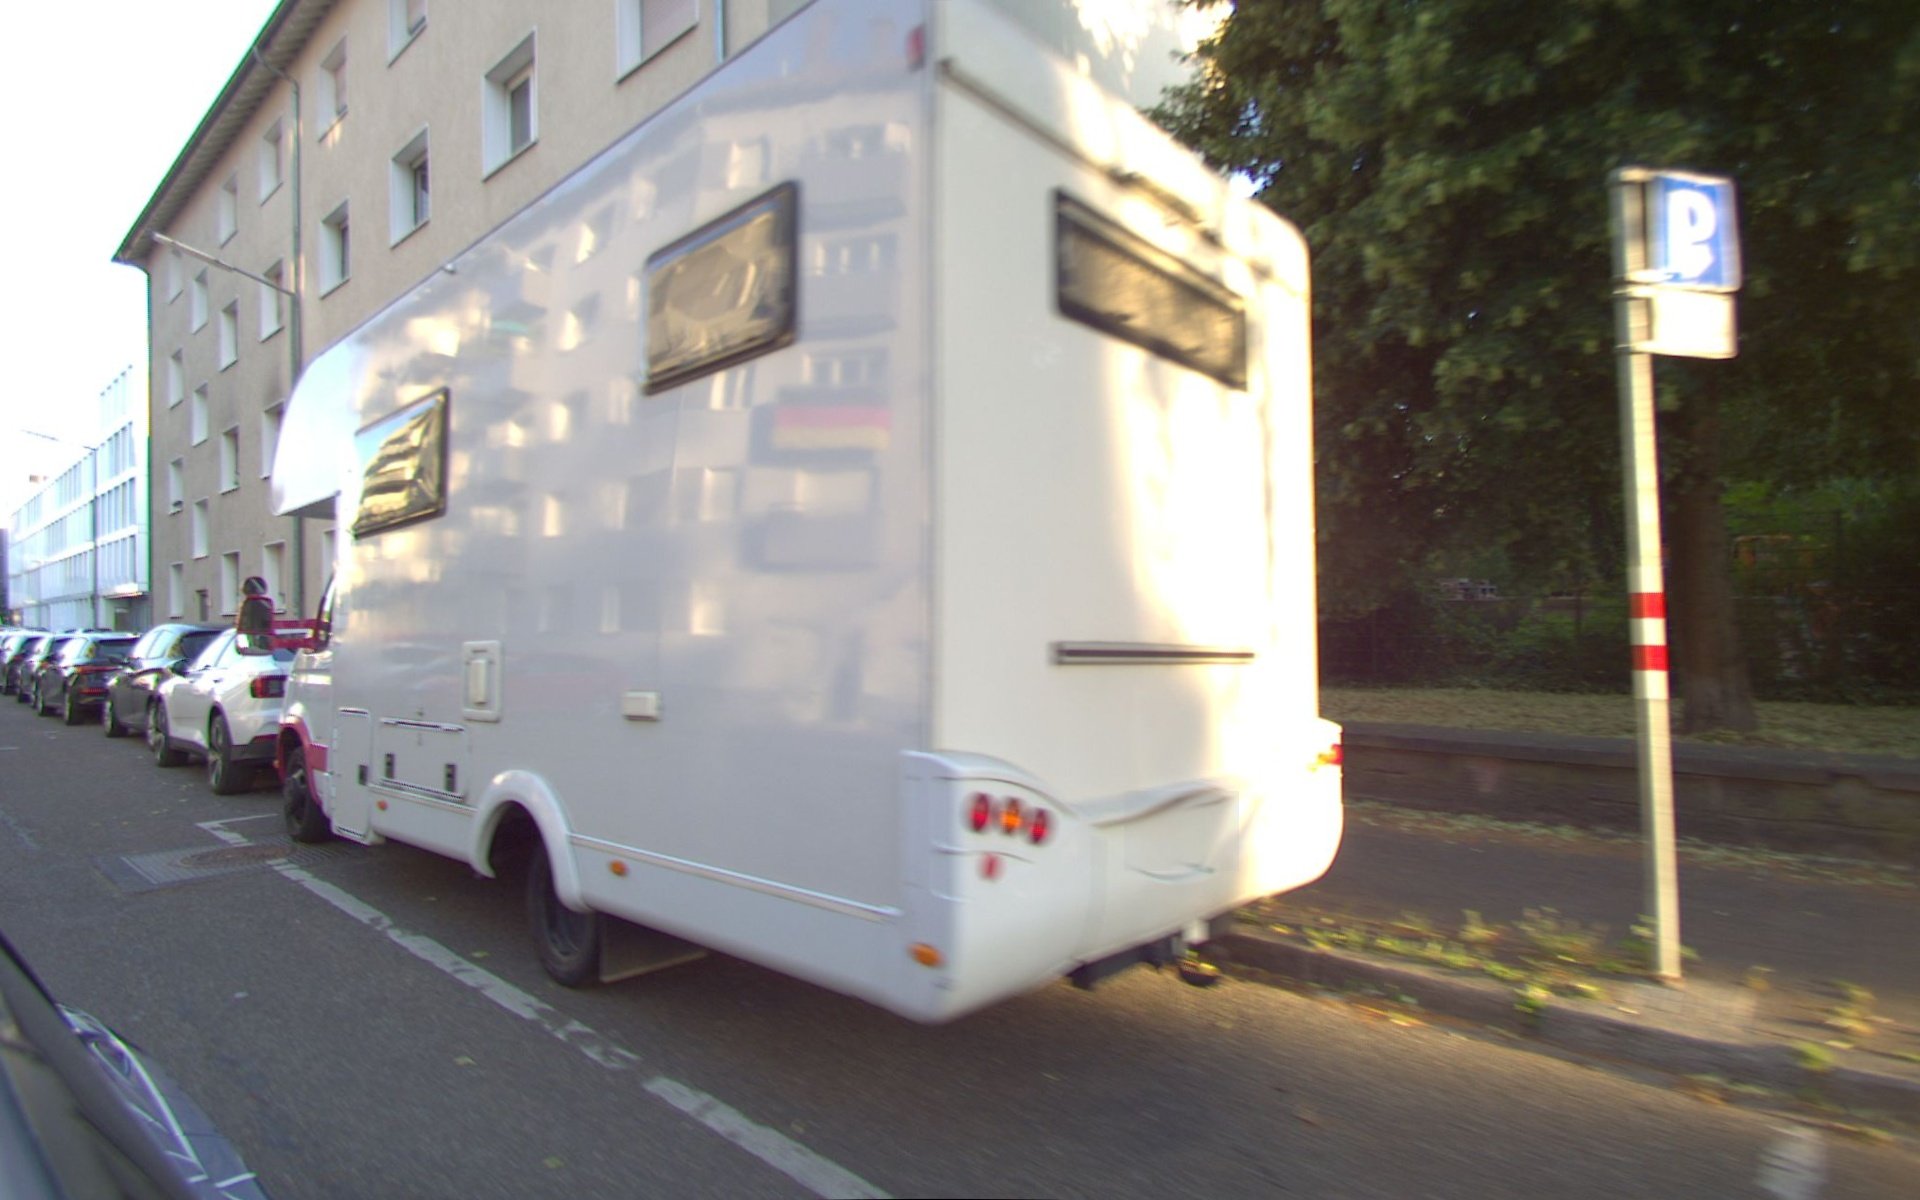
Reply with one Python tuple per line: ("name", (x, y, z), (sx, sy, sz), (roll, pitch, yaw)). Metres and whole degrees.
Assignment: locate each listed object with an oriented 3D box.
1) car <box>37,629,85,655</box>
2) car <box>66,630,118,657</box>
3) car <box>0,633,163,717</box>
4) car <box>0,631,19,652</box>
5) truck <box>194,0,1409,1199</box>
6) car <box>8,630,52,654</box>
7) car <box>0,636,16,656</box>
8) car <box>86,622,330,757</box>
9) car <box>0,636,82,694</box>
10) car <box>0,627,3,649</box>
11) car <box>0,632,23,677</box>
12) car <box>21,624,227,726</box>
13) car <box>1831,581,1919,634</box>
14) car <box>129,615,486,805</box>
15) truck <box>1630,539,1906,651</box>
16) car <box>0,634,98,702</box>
("car", (-54.590, 2.509, 61.441), (1.971, 1.497, 4.002), (0, -1, -45))
("car", (-49.705, 2.467, 57.959), (1.971, 1.497, 4.002), (0, -1, -45))
("car", (-17.981, 1.451, 20.649), (4.430, 1.455, 1.972), (-2, -1, 42))
("car", (-72.390, 3.103, 74.928), (2.001, 1.497, 3.942), (-2, -1, 44))
("truck", (-1.980, -0.152, 5.866), (8.018, 3.379, 2.497), (-2, -4, 43))
("car", (-62.064, 2.794, 67.516), (1.971, 1.530, 4.002), (0, -1, -45))
("car", (-73.956, 3.513, 76.338), (2.001, 1.497, 3.942), (-2, -1, 44))
("car", (-10.181, 1.107, 13.600), (4.065, 1.545, 1.771), (-2, -3, 41))
("car", (-26.329, 1.778, 28.393), (4.429, 1.455, 1.973), (-2, -1, 41))
("car", (-79.820, 3.098, 81.508), (2.001, 1.829, 3.942), (-2, -1, 44))
("car", (-34.396, 1.902, 35.342), (4.429, 1.501, 1.973), (-2, -1, 41))
("car", (-14.134, 1.172, 17.024), (4.429, 1.455, 1.973), (-2, -1, 41))
("car", (36.523, 0.296, 40.453), (1.994, 2.029, 3.955), (-2, -1, 33))
("car", (-6.837, 0.973, 10.341), (4.909, 1.488, 1.886), (-2, -4, 43))
("truck", (21.249, -0.091, 27.010), (5.498, 2.725, 2.222), (-2, 1, 35))
("car", (-22.591, 1.606, 24.673), (4.429, 1.455, 1.769), (-2, -1, 41))
